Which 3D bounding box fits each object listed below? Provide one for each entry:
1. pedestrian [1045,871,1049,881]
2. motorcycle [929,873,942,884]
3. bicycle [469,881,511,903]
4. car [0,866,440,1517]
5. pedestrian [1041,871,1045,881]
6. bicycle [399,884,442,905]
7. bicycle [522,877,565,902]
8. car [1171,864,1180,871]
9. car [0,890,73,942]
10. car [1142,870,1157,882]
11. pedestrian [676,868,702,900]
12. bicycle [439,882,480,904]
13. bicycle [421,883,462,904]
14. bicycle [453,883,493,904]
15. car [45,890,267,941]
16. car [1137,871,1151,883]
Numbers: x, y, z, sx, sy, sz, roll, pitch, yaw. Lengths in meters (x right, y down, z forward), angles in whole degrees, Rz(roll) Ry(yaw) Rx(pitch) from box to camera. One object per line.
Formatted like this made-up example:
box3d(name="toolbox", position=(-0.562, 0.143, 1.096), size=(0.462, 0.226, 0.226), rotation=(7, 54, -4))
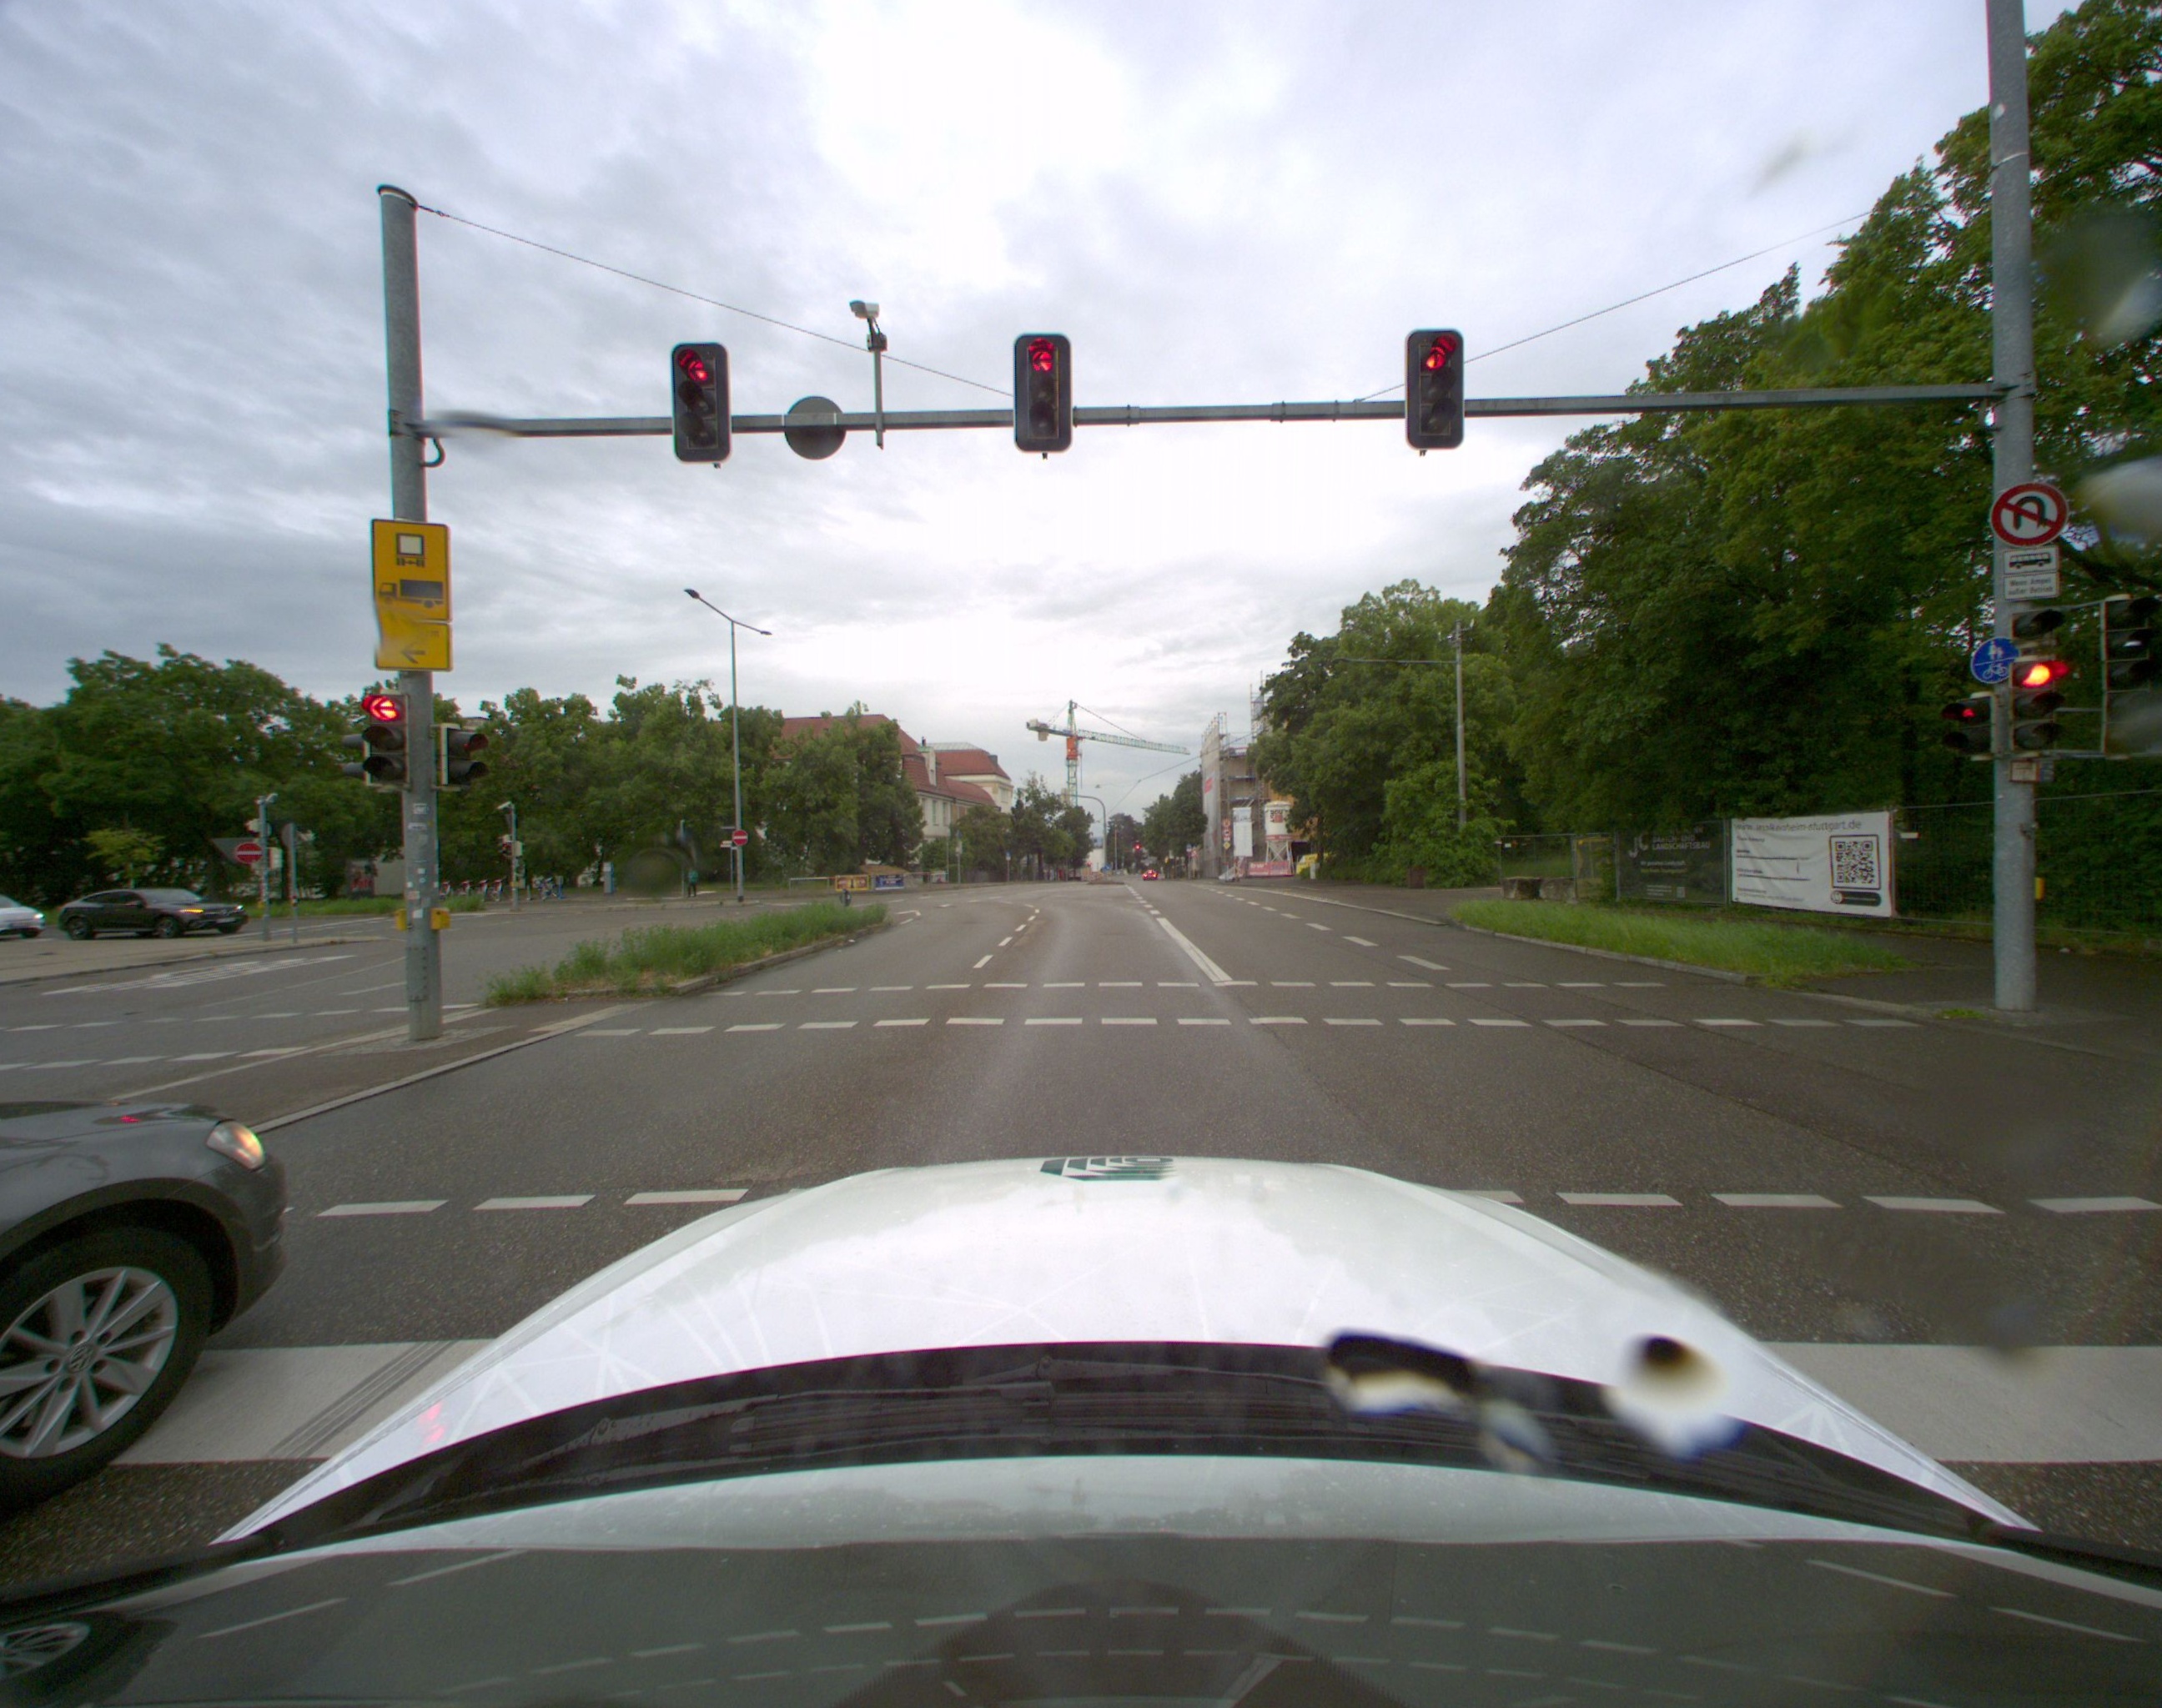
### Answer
box3d(name="pedestrian", position=(-4.780, 3.098, 115.745), size=(0.473, 1.396, 0.411), rotation=(-2, -1, 1))
box3d(name="motorcycle", position=(-11.645, 1.938, 65.346), size=(0.846, 0.877, 0.877), rotation=(0, -1, 1))
box3d(name="bicycle", position=(-32.275, 2.067, 44.512), size=(0.798, 1.071, 1.982), rotation=(0, -1, 2))
box3d(name="car", position=(-3.436, 0.803, 0.932), size=(1.809, 1.481, 4.378), rotation=(-2, 0, 2))
box3d(name="pedestrian", position=(-5.456, 3.067, 115.740), size=(0.473, 1.396, 0.411), rotation=(-2, -1, 1))
box3d(name="bicycle", position=(-35.970, 2.179, 44.371), size=(0.649, 1.071, 1.982), rotation=(0, -1, 2))
box3d(name="bicycle", position=(-29.442, 1.932, 44.621), size=(0.987, 1.249, 1.982), rotation=(0, -1, 2))
box3d(name="car", position=(25.480, 3.499, 218.951), size=(1.980, 1.750, 4.014), rotation=(-2, 0, 13))
box3d(name="car", position=(-36.501, 2.038, 27.055), size=(3.539, 1.594, 2.001), rotation=(0, -1, 1))
box3d(name="car", position=(10.413, 3.372, 124.699), size=(1.986, 1.750, 4.001), rotation=(-2, 0, 1))
box3d(name="pedestrian", position=(-21.621, 1.630, 44.903), size=(0.918, 1.727, 0.947), rotation=(0, -1, 5))
box3d(name="bicycle", position=(-33.914, 2.115, 44.455), size=(0.649, 1.071, 1.982), rotation=(0, -1, 2))
box3d(name="bicycle", position=(-34.993, 2.143, 44.586), size=(0.649, 1.071, 1.982), rotation=(0, -1, 2))
box3d(name="bicycle", position=(-33.024, 2.119, 44.280), size=(0.649, 1.071, 1.982), rotation=(0, -1, 2))
box3d(name="car", position=(-30.080, 1.985, 26.591), size=(5.006, 1.500, 2.001), rotation=(0, -1, 1))
box3d(name="car", position=(10.208, 3.659, 131.670), size=(1.986, 1.750, 4.001), rotation=(-2, 0, 1))
